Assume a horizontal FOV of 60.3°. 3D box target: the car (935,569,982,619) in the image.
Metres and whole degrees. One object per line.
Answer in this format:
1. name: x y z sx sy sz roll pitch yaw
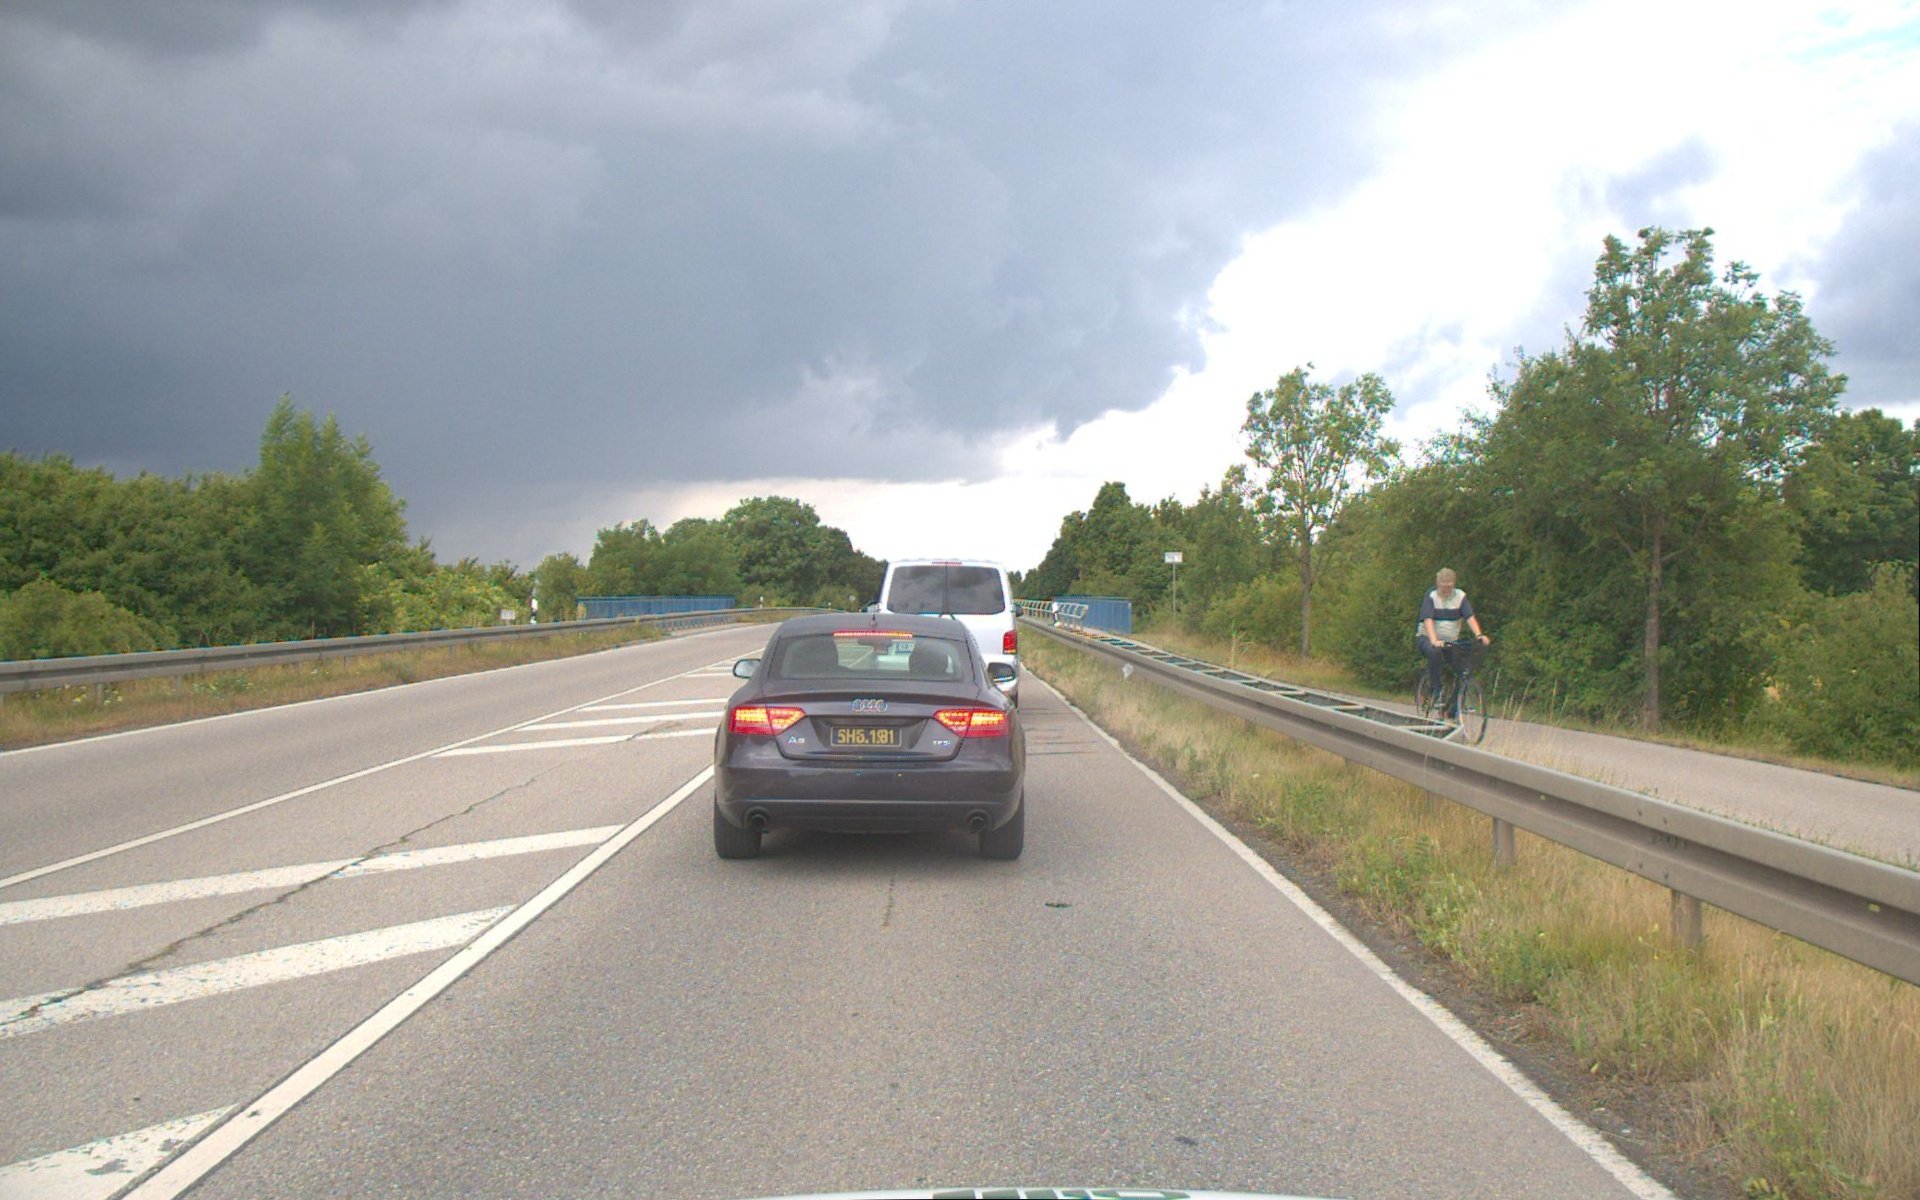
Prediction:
1. car: -0.098 -0.333 87.512 2.397 2.548 5.041 1 0 0

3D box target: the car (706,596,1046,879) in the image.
1. car: -0.464 0.732 10.623 1.749 1.448 3.999 1 -1 -1

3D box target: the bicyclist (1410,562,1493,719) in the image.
1. bicyclist: 5.385 0.436 18.153 0.634 1.674 0.866 0 0 -1

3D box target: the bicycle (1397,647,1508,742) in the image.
1. bicycle: 5.392 1.014 18.222 0.652 0.936 1.830 0 0 -1

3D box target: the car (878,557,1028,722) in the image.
1. car: -0.110 0.482 21.618 1.749 1.923 3.999 1 -1 -1
